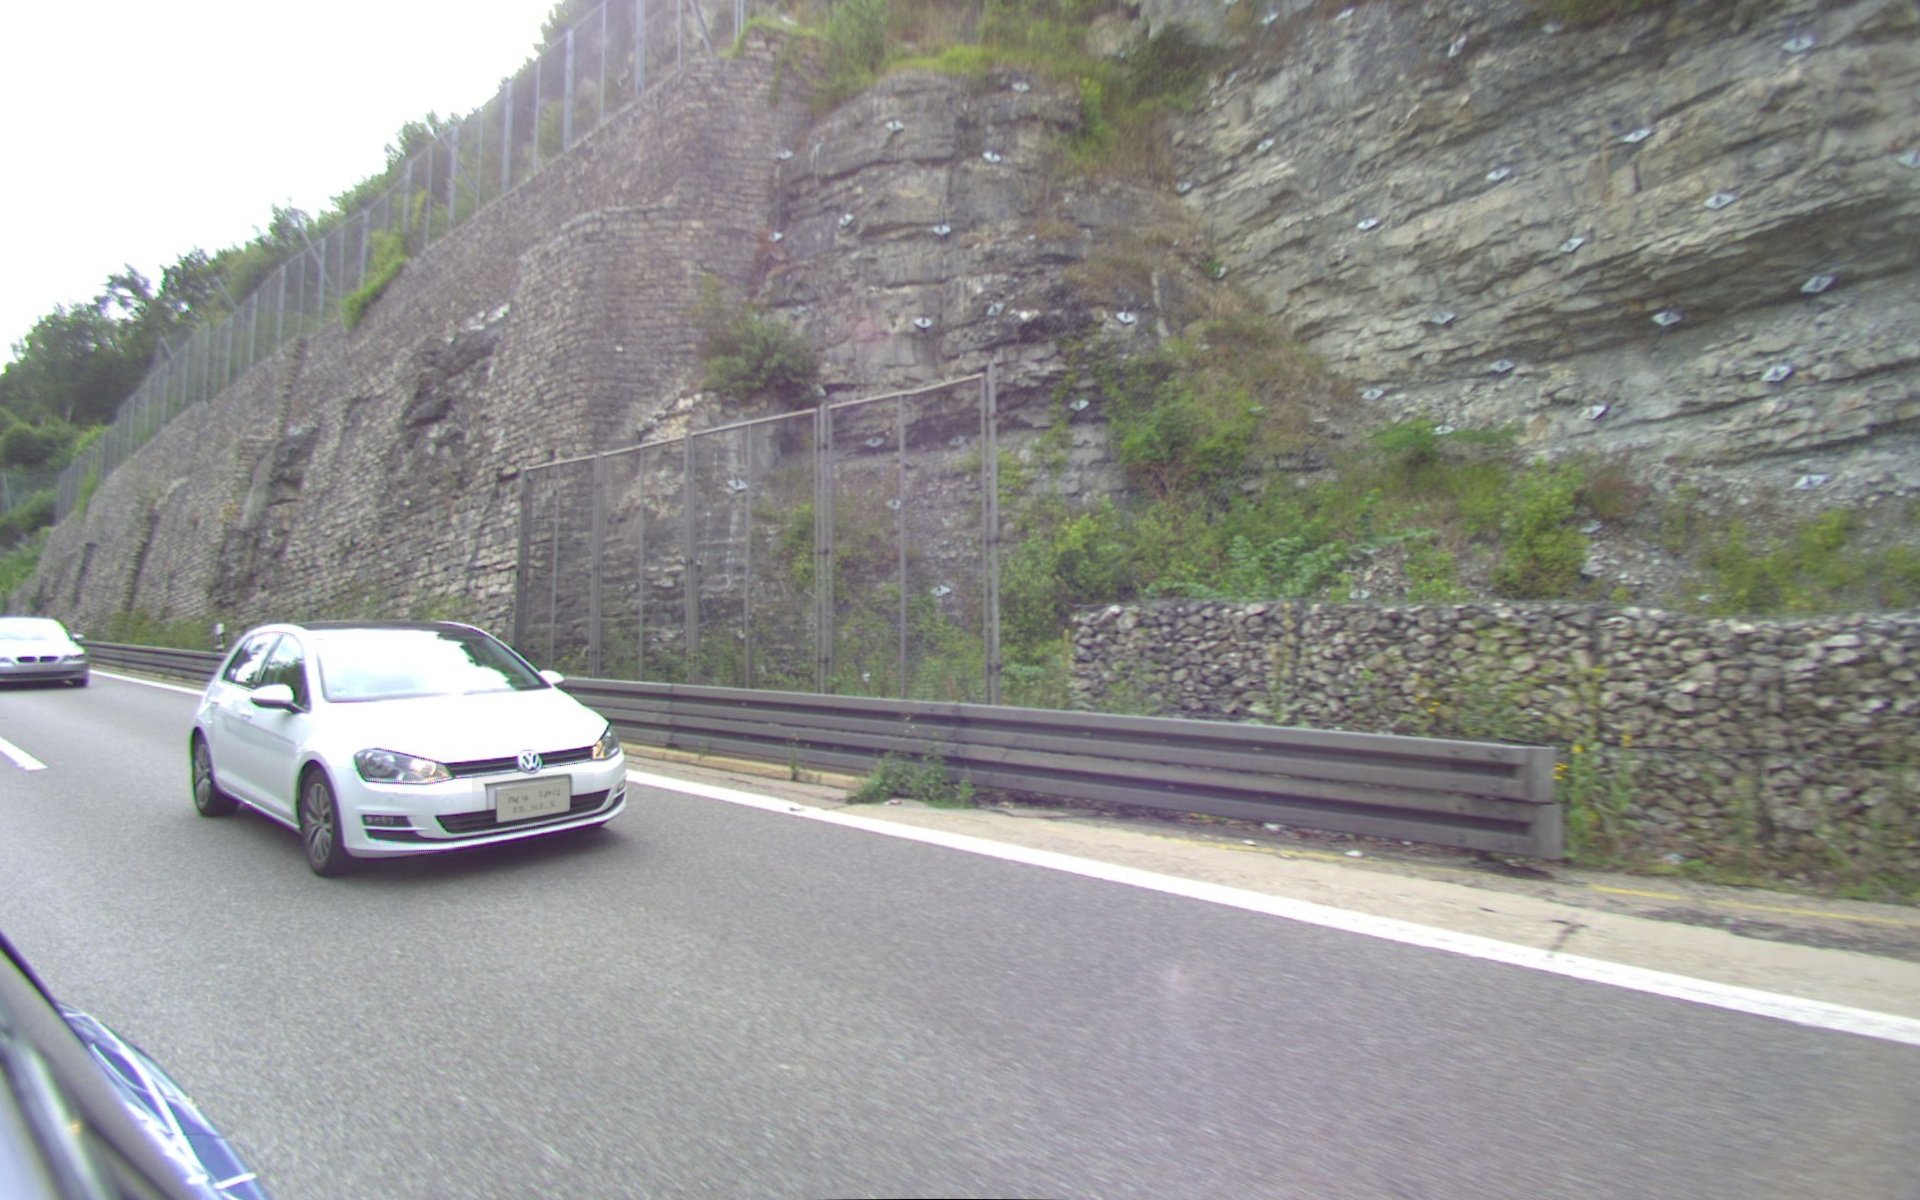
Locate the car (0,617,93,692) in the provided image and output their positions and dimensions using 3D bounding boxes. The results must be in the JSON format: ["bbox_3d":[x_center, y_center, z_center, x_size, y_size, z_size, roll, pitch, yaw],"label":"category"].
[{"bbox_3d":[-20.454,1.135,21.924,5.132,1.468,1.809,-1,-2,41],"label":"car"}]

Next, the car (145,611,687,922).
[{"bbox_3d":[-4.077,0.843,7.193,4.624,1.493,1.826,0,0,40],"label":"car"}]
